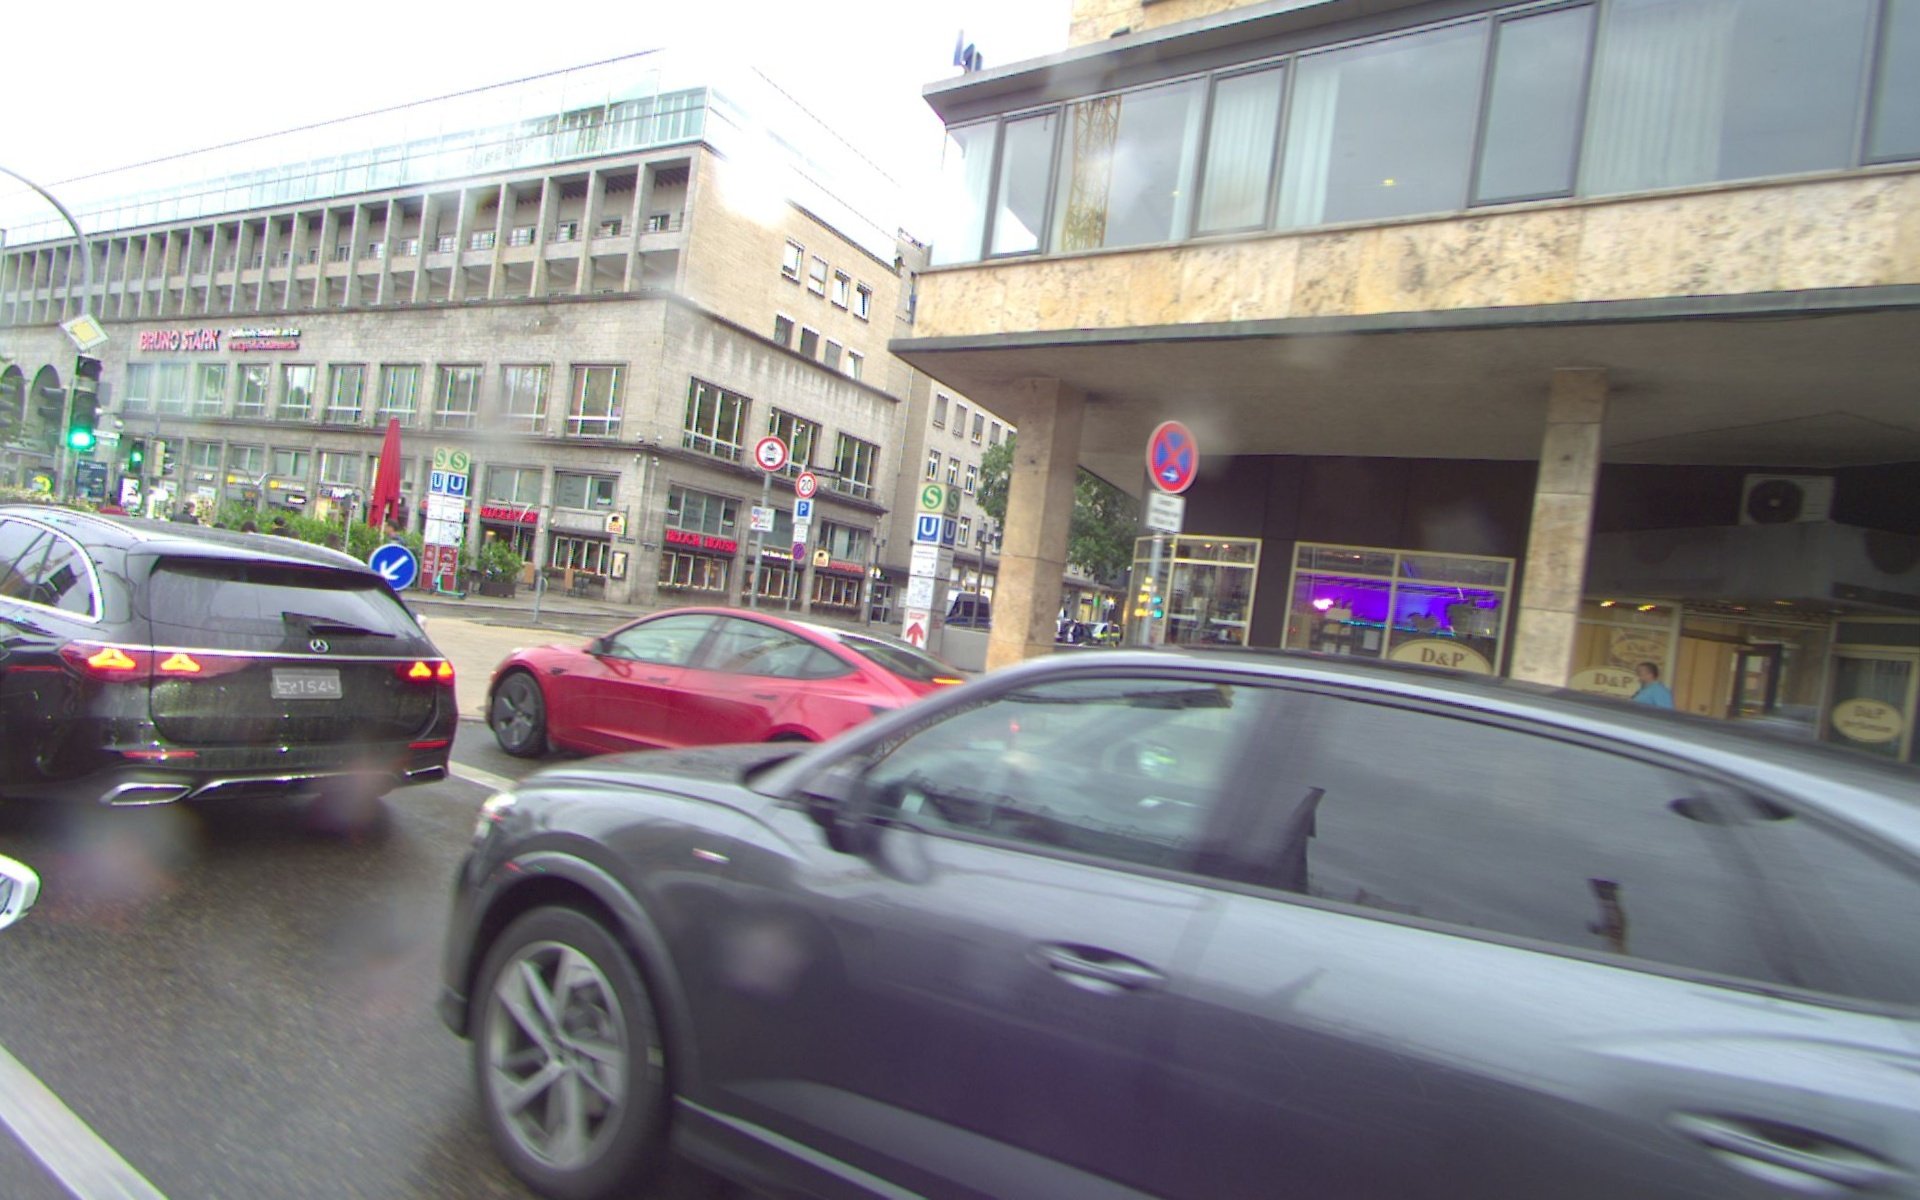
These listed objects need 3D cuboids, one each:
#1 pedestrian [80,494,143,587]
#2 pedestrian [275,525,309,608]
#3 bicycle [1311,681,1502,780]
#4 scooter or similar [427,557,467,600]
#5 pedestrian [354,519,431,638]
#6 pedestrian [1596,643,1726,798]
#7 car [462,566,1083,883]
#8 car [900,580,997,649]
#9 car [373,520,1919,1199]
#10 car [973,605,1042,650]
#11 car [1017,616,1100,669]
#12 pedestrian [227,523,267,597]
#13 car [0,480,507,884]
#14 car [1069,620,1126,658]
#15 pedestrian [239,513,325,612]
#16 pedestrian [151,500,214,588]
[{"bbox_3d":[-17.257,-1.190,20.471,0.561,1.772,0.678,7,-1,-16],"label":"pedestrian"},{"bbox_3d":[-14.733,-0.736,22.196,0.477,1.774,0.661,5,2,-30],"label":"pedestrian"},{"bbox_3d":[6.592,1.898,14.927,2.431,1.058,0.657,6,-2,32],"label":"bicycle"},{"bbox_3d":[-15.715,-0.654,30.829,1.000,1.203,0.291,7,-1,13],"label":"scooter or similar"},{"bbox_3d":[-9.083,-0.334,16.130,0.768,1.777,0.503,7,-1,-15],"label":"pedestrian"},{"bbox_3d":[9.010,1.539,12.933,1.123,1.811,0.796,8,-1,-28],"label":"pedestrian"},{"bbox_3d":[-1.547,0.768,7.729,4.451,1.503,1.879,6,-2,31],"label":"car"},{"bbox_3d":[-0.460,0.827,50.746,1.965,2.792,6.186,6,-2,27],"label":"car"},{"bbox_3d":[0.745,0.817,2.465,4.271,1.519,1.882,6,-2,32],"label":"car"},{"bbox_3d":[2.765,1.607,57.661,1.966,2.065,4.557,6,-2,29],"label":"car"},{"bbox_3d":[4.640,2.003,46.569,1.966,1.994,4.638,7,-1,29],"label":"car"},{"bbox_3d":[-15.348,-0.852,21.667,0.460,1.535,0.447,7,-1,-25],"label":"pedestrian"},{"bbox_3d":[-4.883,0.211,5.793,4.552,1.519,1.797,6,-2,32],"label":"car"},{"bbox_3d":[9.620,2.738,70.110,1.967,2.065,4.830,6,-2,32],"label":"car"},{"bbox_3d":[-13.094,-0.706,19.448,0.642,1.774,1.097,6,2,29],"label":"pedestrian"},{"bbox_3d":[-16.339,-1.168,21.146,0.458,1.737,0.757,6,-1,28],"label":"pedestrian"}]
